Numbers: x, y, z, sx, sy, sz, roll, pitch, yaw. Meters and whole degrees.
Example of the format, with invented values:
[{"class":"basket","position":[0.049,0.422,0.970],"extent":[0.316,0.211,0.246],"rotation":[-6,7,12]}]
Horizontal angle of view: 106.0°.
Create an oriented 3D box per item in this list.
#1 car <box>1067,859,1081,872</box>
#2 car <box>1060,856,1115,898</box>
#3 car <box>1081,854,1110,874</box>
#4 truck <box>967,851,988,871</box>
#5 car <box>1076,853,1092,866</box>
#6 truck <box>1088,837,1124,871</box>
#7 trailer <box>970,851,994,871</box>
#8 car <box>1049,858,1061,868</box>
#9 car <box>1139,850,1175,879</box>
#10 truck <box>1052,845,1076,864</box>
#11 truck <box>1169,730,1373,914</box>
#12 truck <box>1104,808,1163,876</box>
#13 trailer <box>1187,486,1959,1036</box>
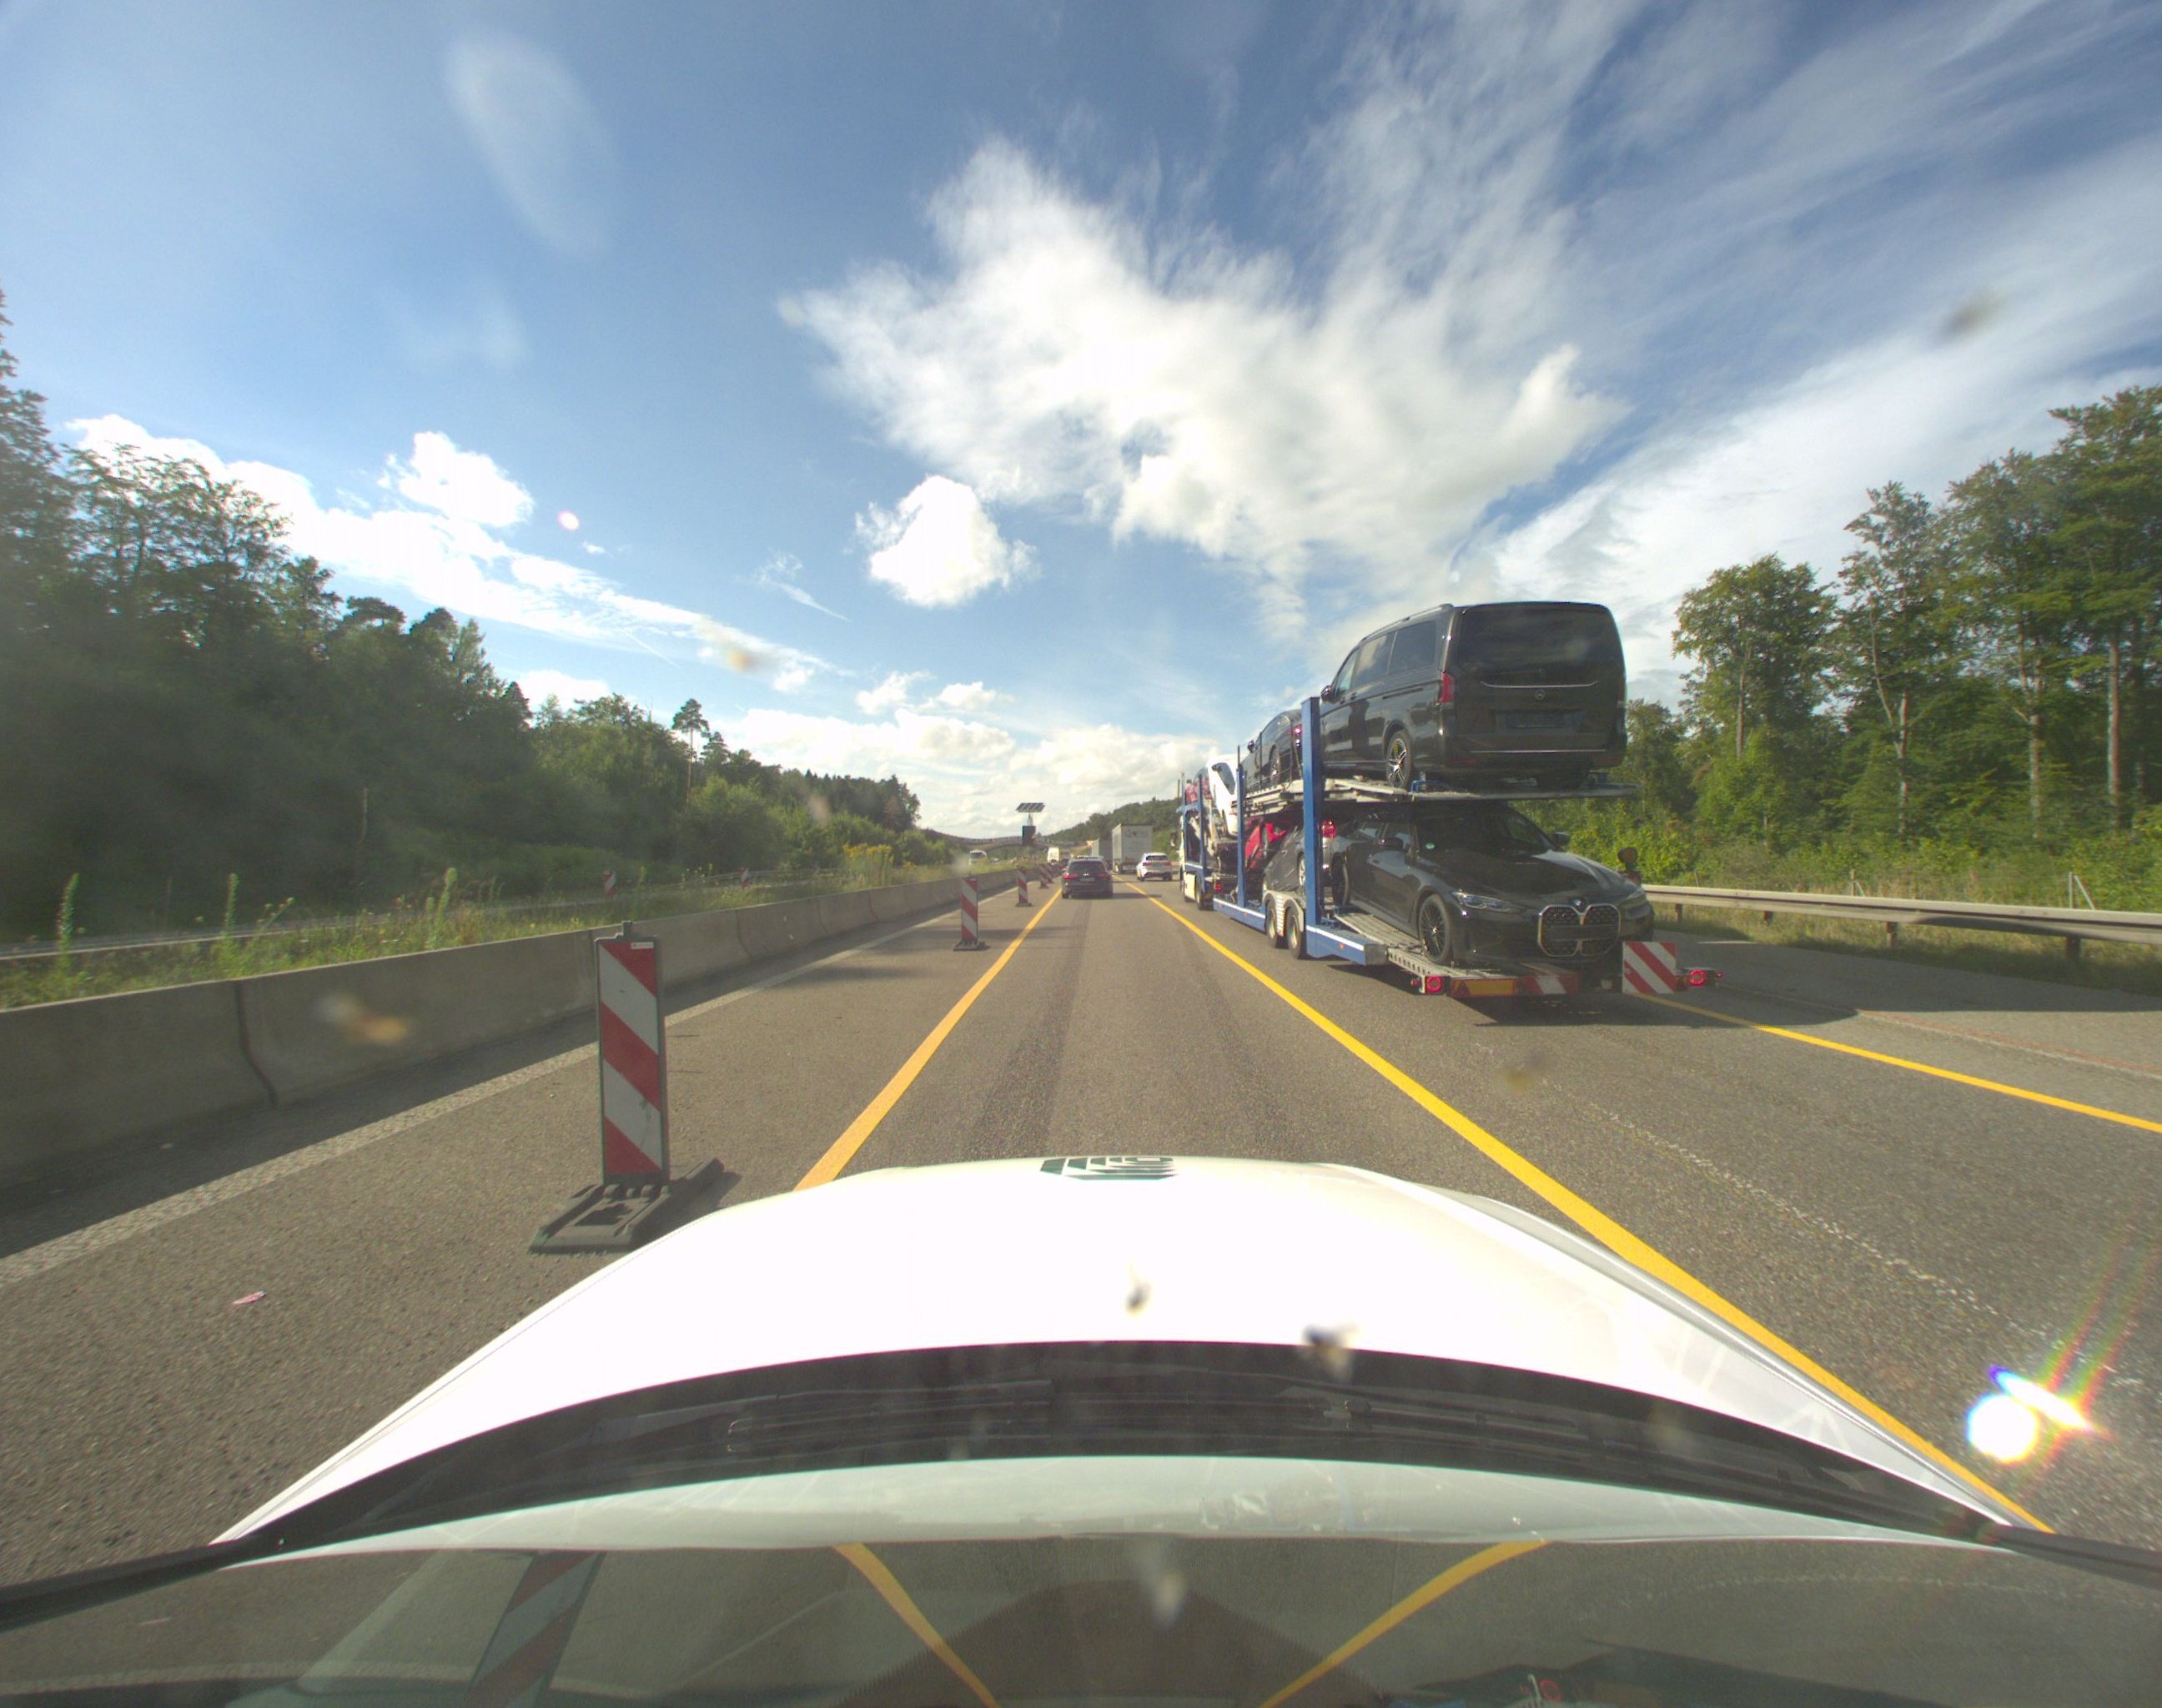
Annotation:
[{"class":"car","position":[-1.106,1.725,125.684],"extent":[1.989,2.014,3.996],"rotation":[-1,-1,-3]},{"class":"car","position":[0.288,0.817,30.417],"extent":[1.883,1.446,4.001],"rotation":[-1,-1,1]},{"class":"car","position":[1.104,0.786,64.461],"extent":[1.887,1.446,3.993],"rotation":[-1,-1,-5]},{"class":"truck","position":[-18.186,1.216,143.090],"extent":[2.775,3.490,4.941],"rotation":[-1,-1,1]},{"class":"car","position":[0.328,0.744,108.338],"extent":[1.886,1.643,4.013],"rotation":[-1,-1,-3]},{"class":"truck","position":[3.461,0.008,117.231],"extent":[4.309,4.600,11.113],"rotation":[-1,-1,-3]},{"class":"trailer","position":[-18.027,1.325,149.240],"extent":[2.792,3.490,11.115],"rotation":[-1,-1,1]},{"class":"car","position":[-5.047,1.768,158.821],"extent":[1.991,2.014,3.991],"rotation":[-1,-1,-6]},{"class":"car","position":[4.527,0.607,48.874],"extent":[1.883,1.643,4.019],"rotation":[-1,-1,1]},{"class":"truck","position":[-3.661,0.087,174.007],"extent":[3.653,3.928,11.033],"rotation":[-1,-1,-9]},{"class":"truck","position":[4.798,-0.706,22.685],"extent":[3.750,4.196,7.948],"rotation":[-1,-1,0]},{"class":"truck","position":[4.377,-0.872,72.371],"extent":[3.668,5.353,16.188],"rotation":[-1,-1,-2]},{"class":"trailer","position":[4.845,-0.669,14.373],"extent":[3.714,4.196,16.222],"rotation":[-1,-1,0]}]
